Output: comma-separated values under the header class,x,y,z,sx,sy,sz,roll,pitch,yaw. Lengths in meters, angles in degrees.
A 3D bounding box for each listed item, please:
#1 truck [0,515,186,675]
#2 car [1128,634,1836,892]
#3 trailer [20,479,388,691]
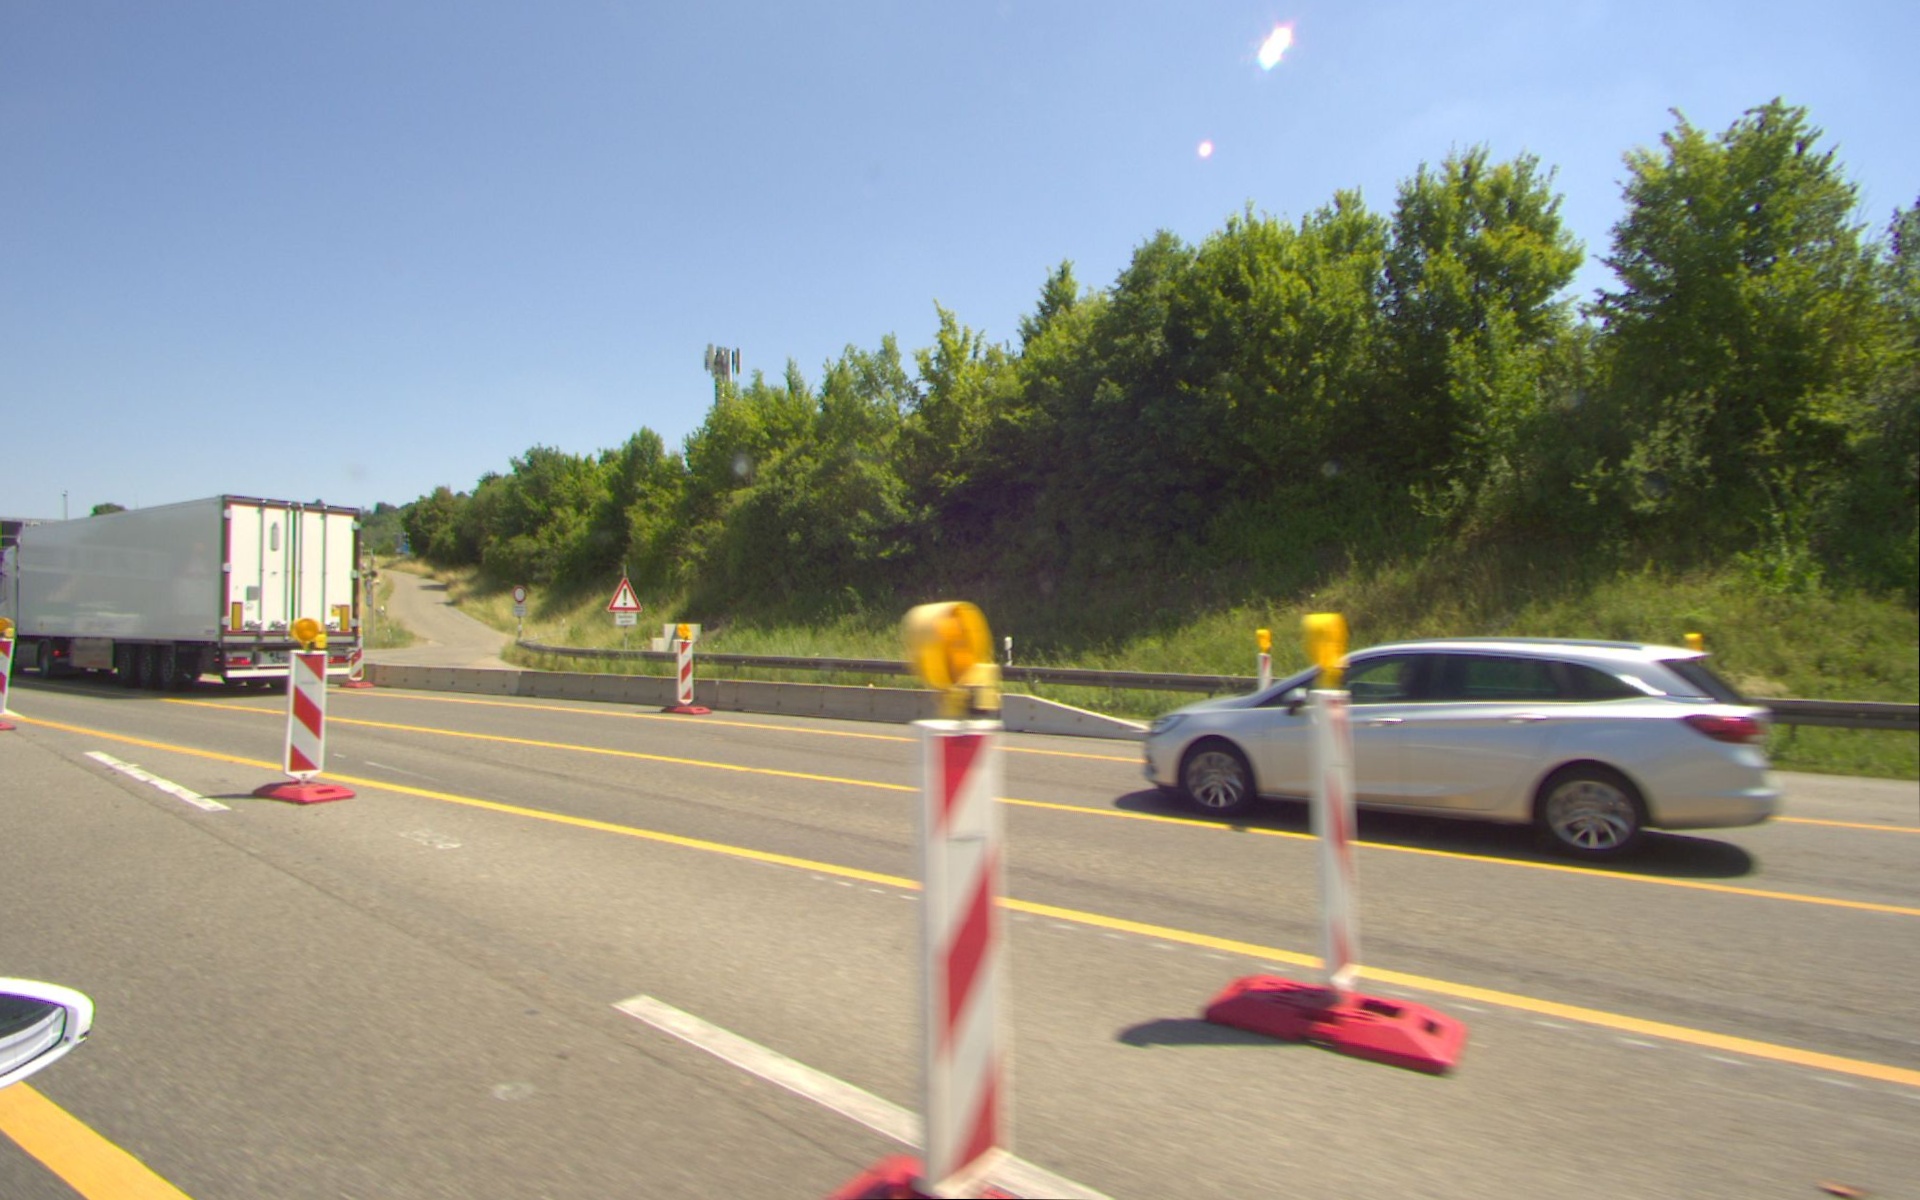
class,x,y,z,sx,sy,sz,roll,pitch,yaw
truck,-24.672,-0.057,28.254,5.844,4.085,2.739,-1,-1,34
car,3.817,1.028,7.980,4.592,1.483,1.810,-1,-2,36
trailer,-18.925,-0.164,24.418,13.899,4.114,2.727,-1,-1,34
